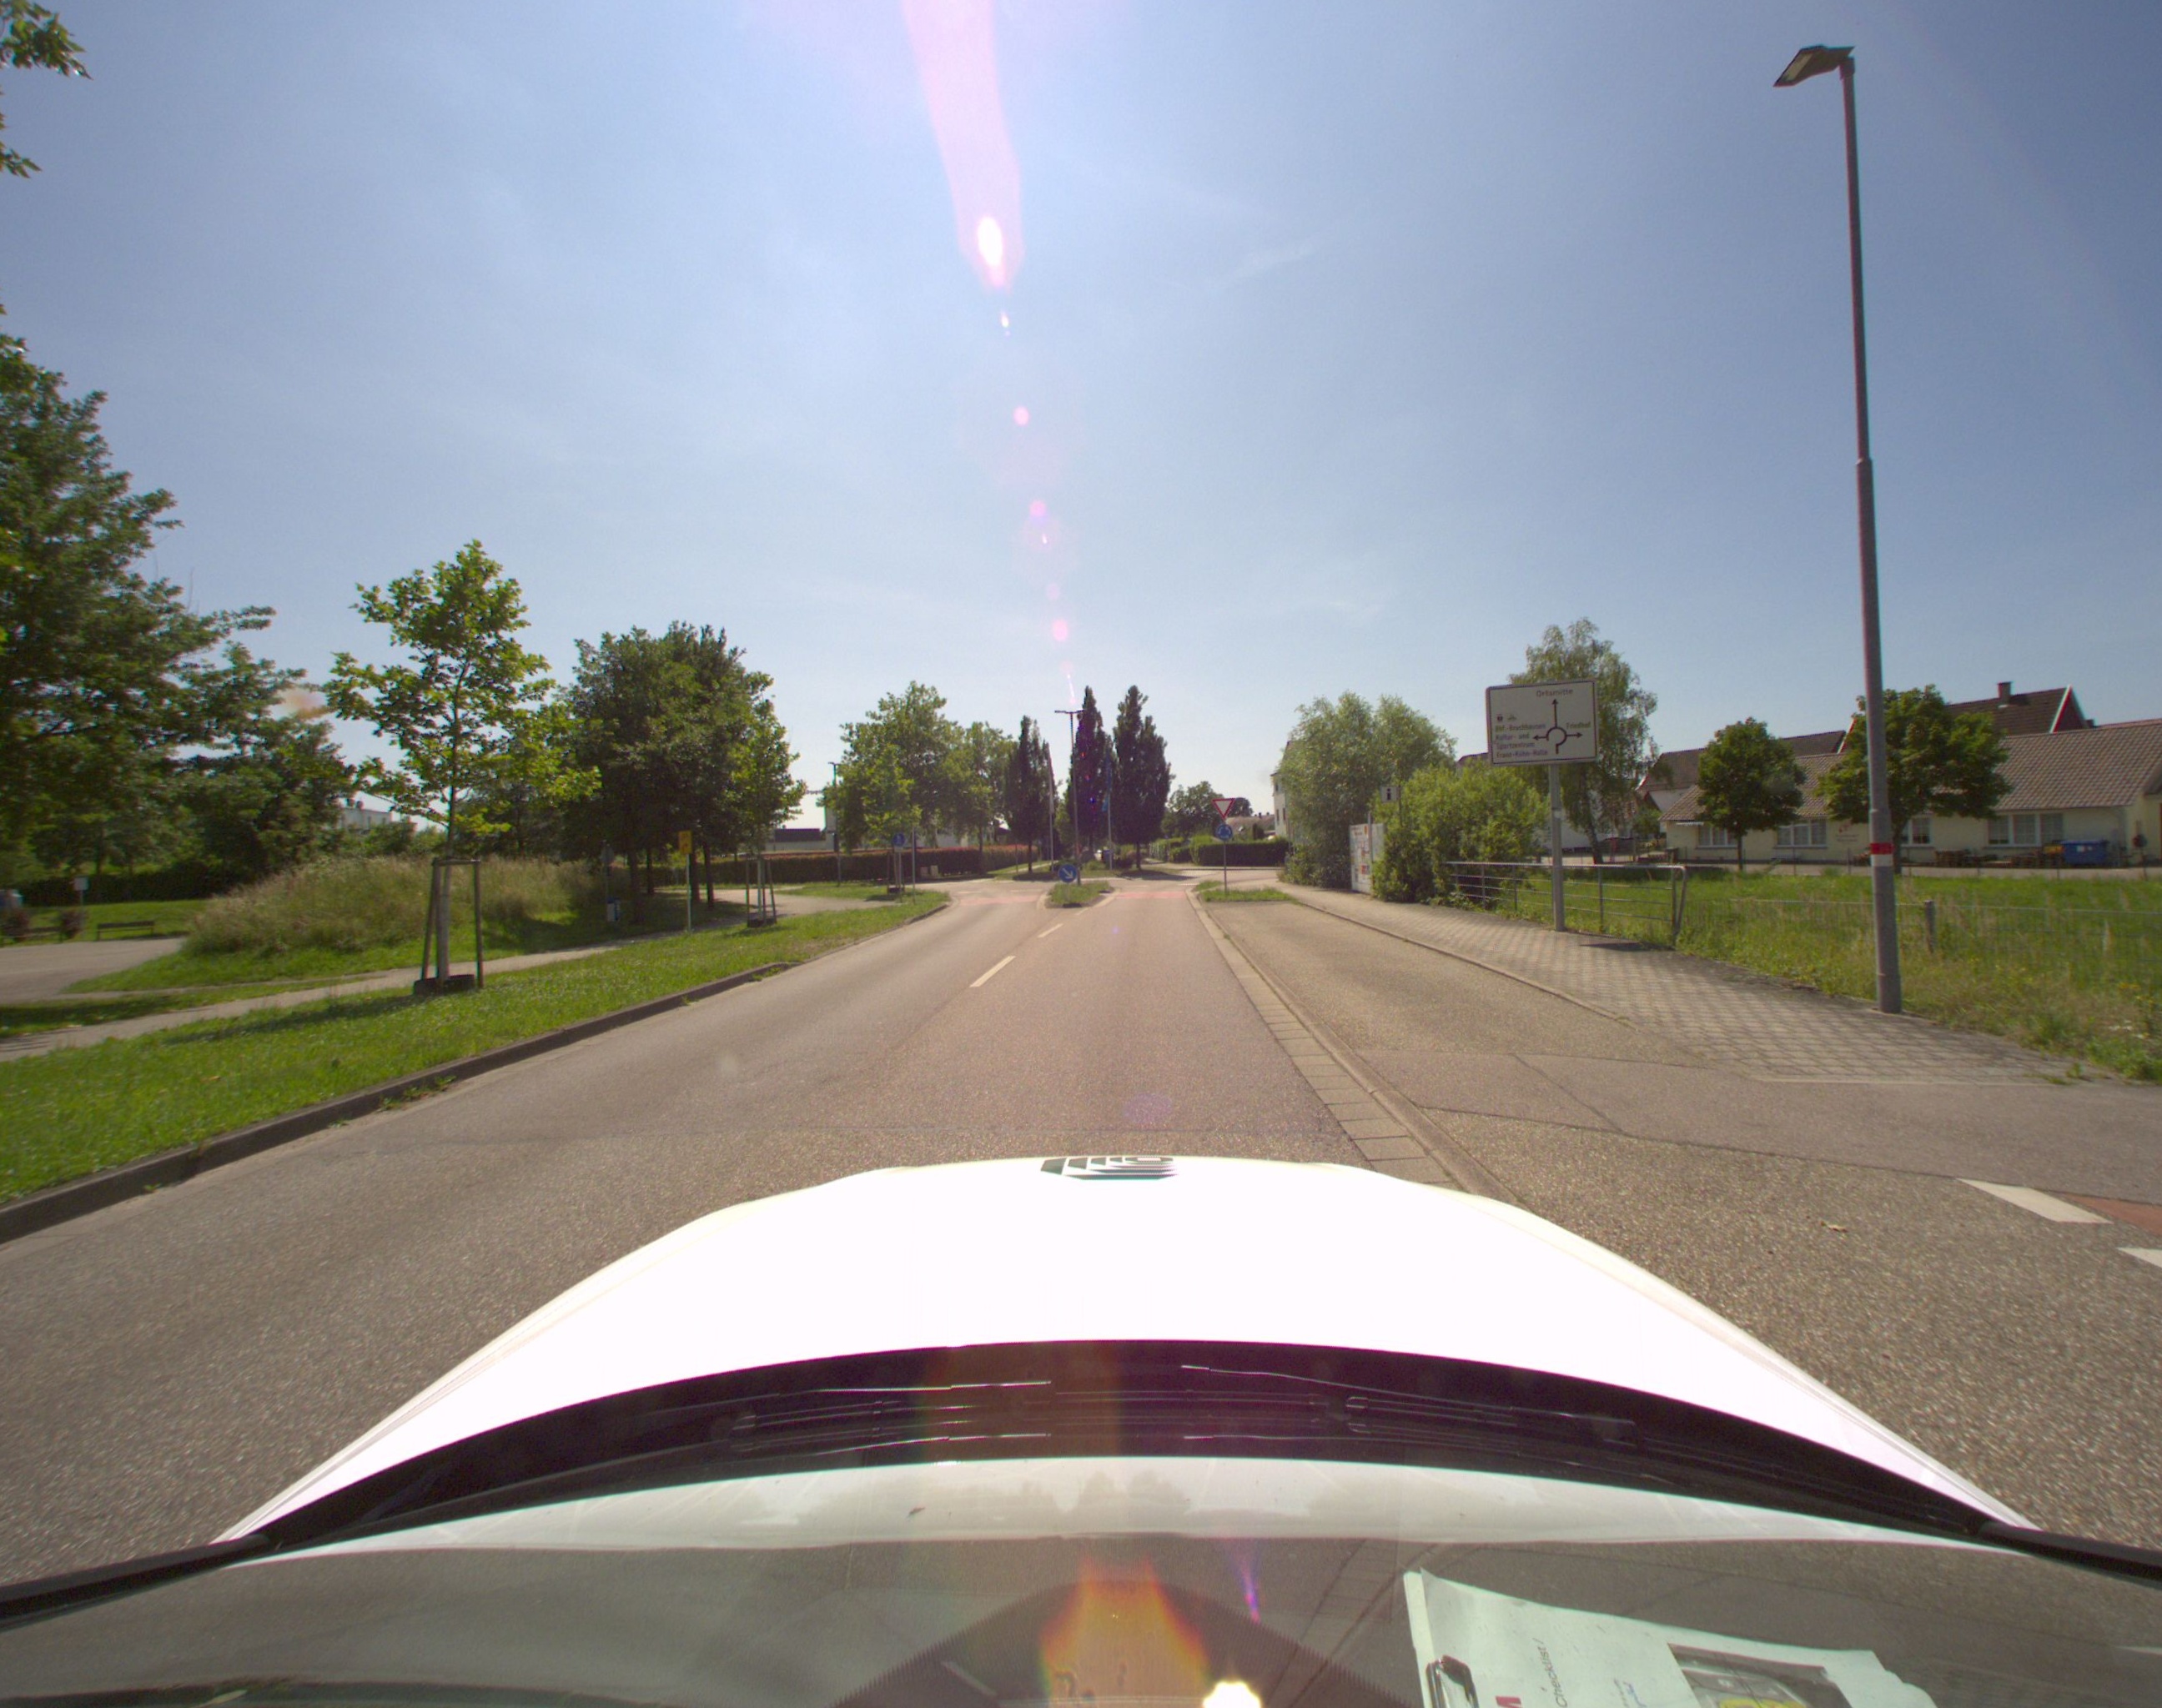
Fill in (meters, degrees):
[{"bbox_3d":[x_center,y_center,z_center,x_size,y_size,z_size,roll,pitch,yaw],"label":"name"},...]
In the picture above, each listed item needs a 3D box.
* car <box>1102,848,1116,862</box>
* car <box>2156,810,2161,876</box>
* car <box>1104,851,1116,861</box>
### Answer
[{"bbox_3d":[3.877,0.189,112.693,1.916,1.886,4.001,-1,0,1],"label":"car"},{"bbox_3d":[38.897,-0.388,27.376,5.191,2.201,2.198,-1,0,-24],"label":"car"},{"bbox_3d":[5.687,0.388,158.076,1.984,1.770,4.006,-1,0,6],"label":"car"}]
